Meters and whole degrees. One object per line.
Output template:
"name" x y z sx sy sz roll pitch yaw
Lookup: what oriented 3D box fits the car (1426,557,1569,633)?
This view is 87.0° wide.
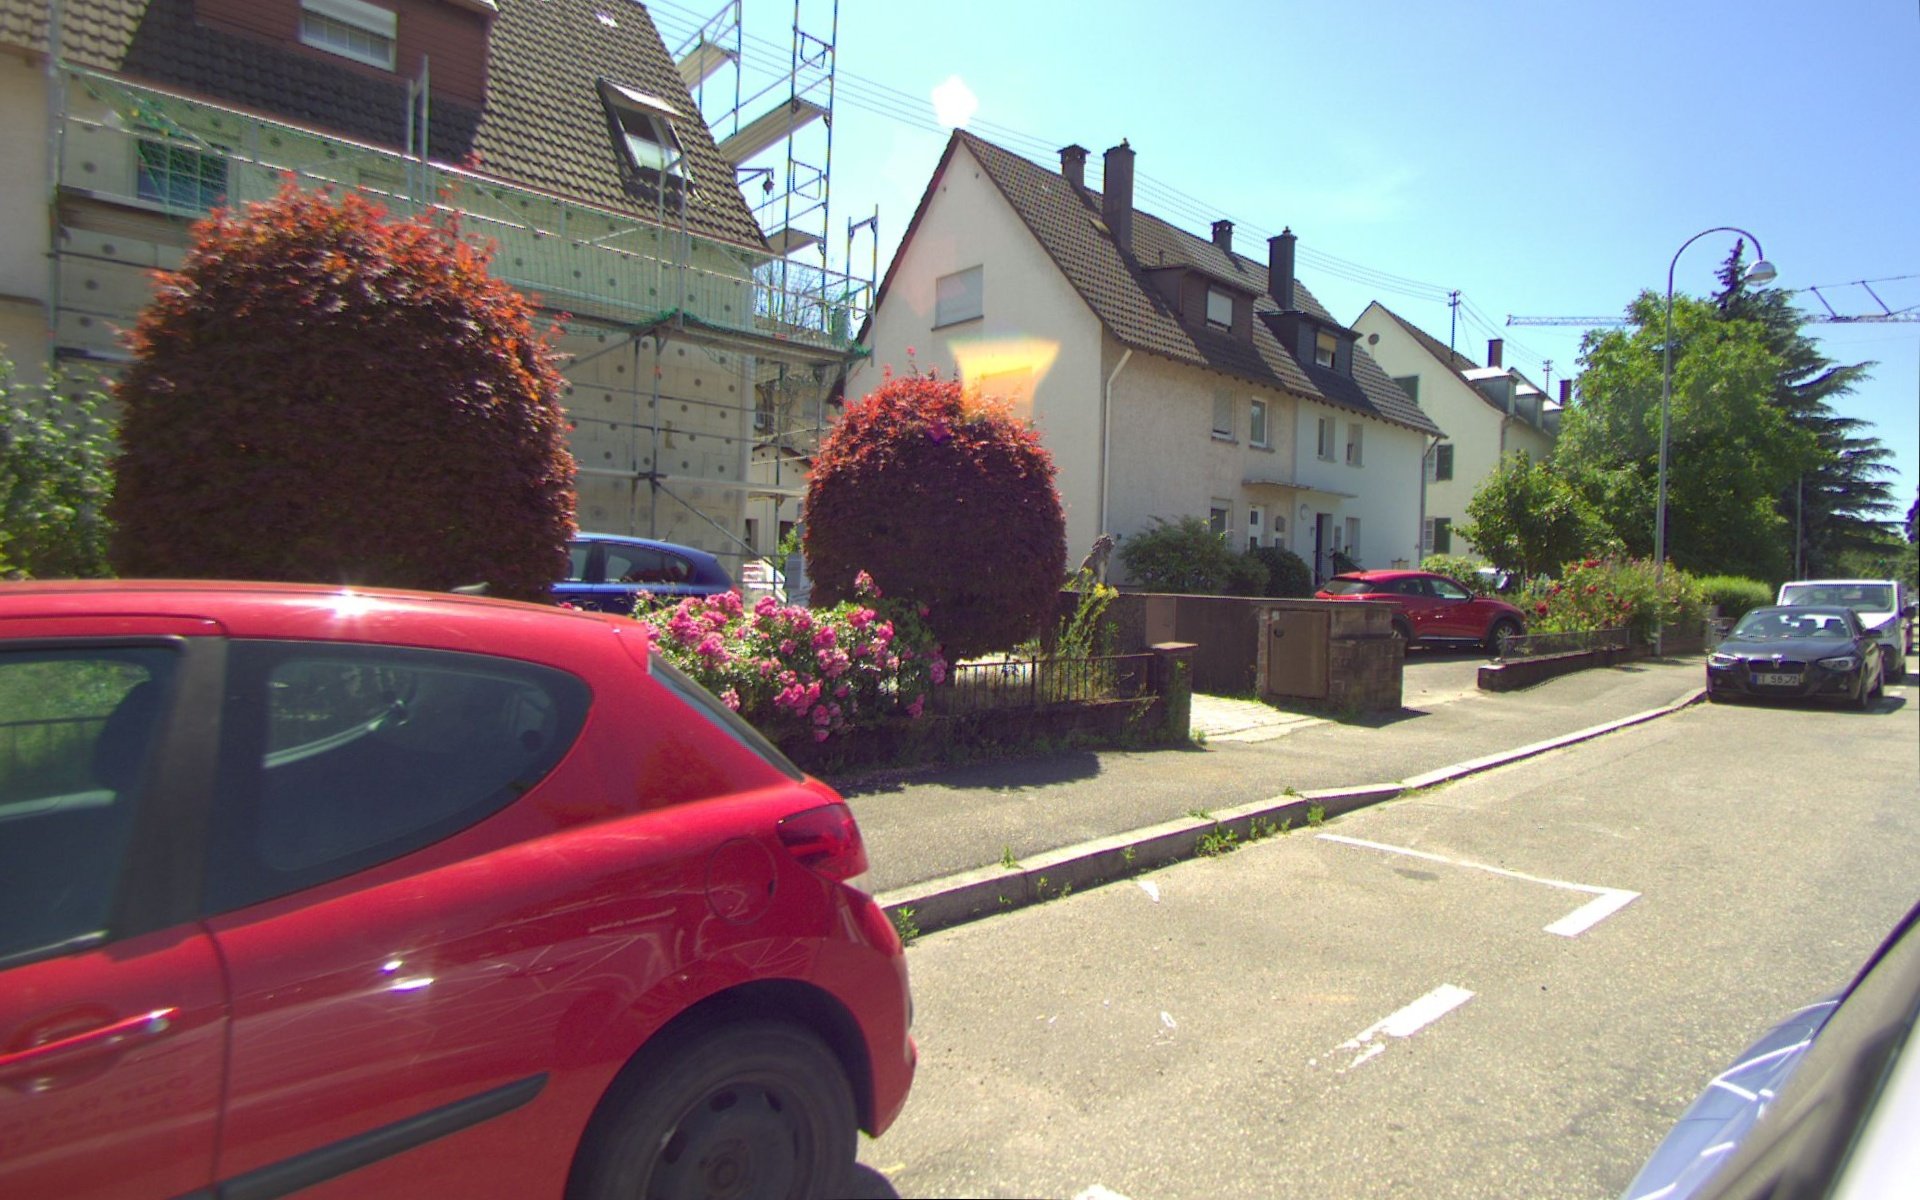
"car" 15.026 -0.114 28.231 4.317 1.879 1.751 2 3 -37

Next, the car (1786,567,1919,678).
"car" 17.861 0.381 20.040 1.903 1.949 4.642 1 1 44

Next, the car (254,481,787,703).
"car" -3.722 -0.074 8.988 3.933 1.529 1.797 2 2 -44

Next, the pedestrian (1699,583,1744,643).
"pedestrian" 20.456 0.338 27.192 0.697 1.535 0.789 1 3 -45

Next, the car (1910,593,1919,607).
"car" 92.145 0.038 96.184 1.857 1.400 4.550 3 2 33

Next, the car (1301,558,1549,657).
"car" 8.493 0.068 18.570 3.966 1.552 1.750 -2 4 -18

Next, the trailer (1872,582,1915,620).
"trailer" 54.008 0.029 58.587 1.678 2.094 3.653 -1 1 41

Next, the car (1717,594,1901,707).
"car" 12.567 0.650 14.900 3.933 1.415 1.658 0 1 -44

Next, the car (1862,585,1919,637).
"car" 34.518 0.376 37.329 1.746 1.805 4.471 -1 0 43

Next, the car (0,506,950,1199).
"car" -2.053 0.623 1.622 3.929 1.473 1.667 0 -1 -40

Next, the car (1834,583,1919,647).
"car" 27.146 0.416 29.759 1.903 1.750 4.321 -1 0 44

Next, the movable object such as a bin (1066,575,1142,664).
"movable object such as a bin" 2.150 0.278 15.138 0.735 1.233 0.761 1 5 -37
